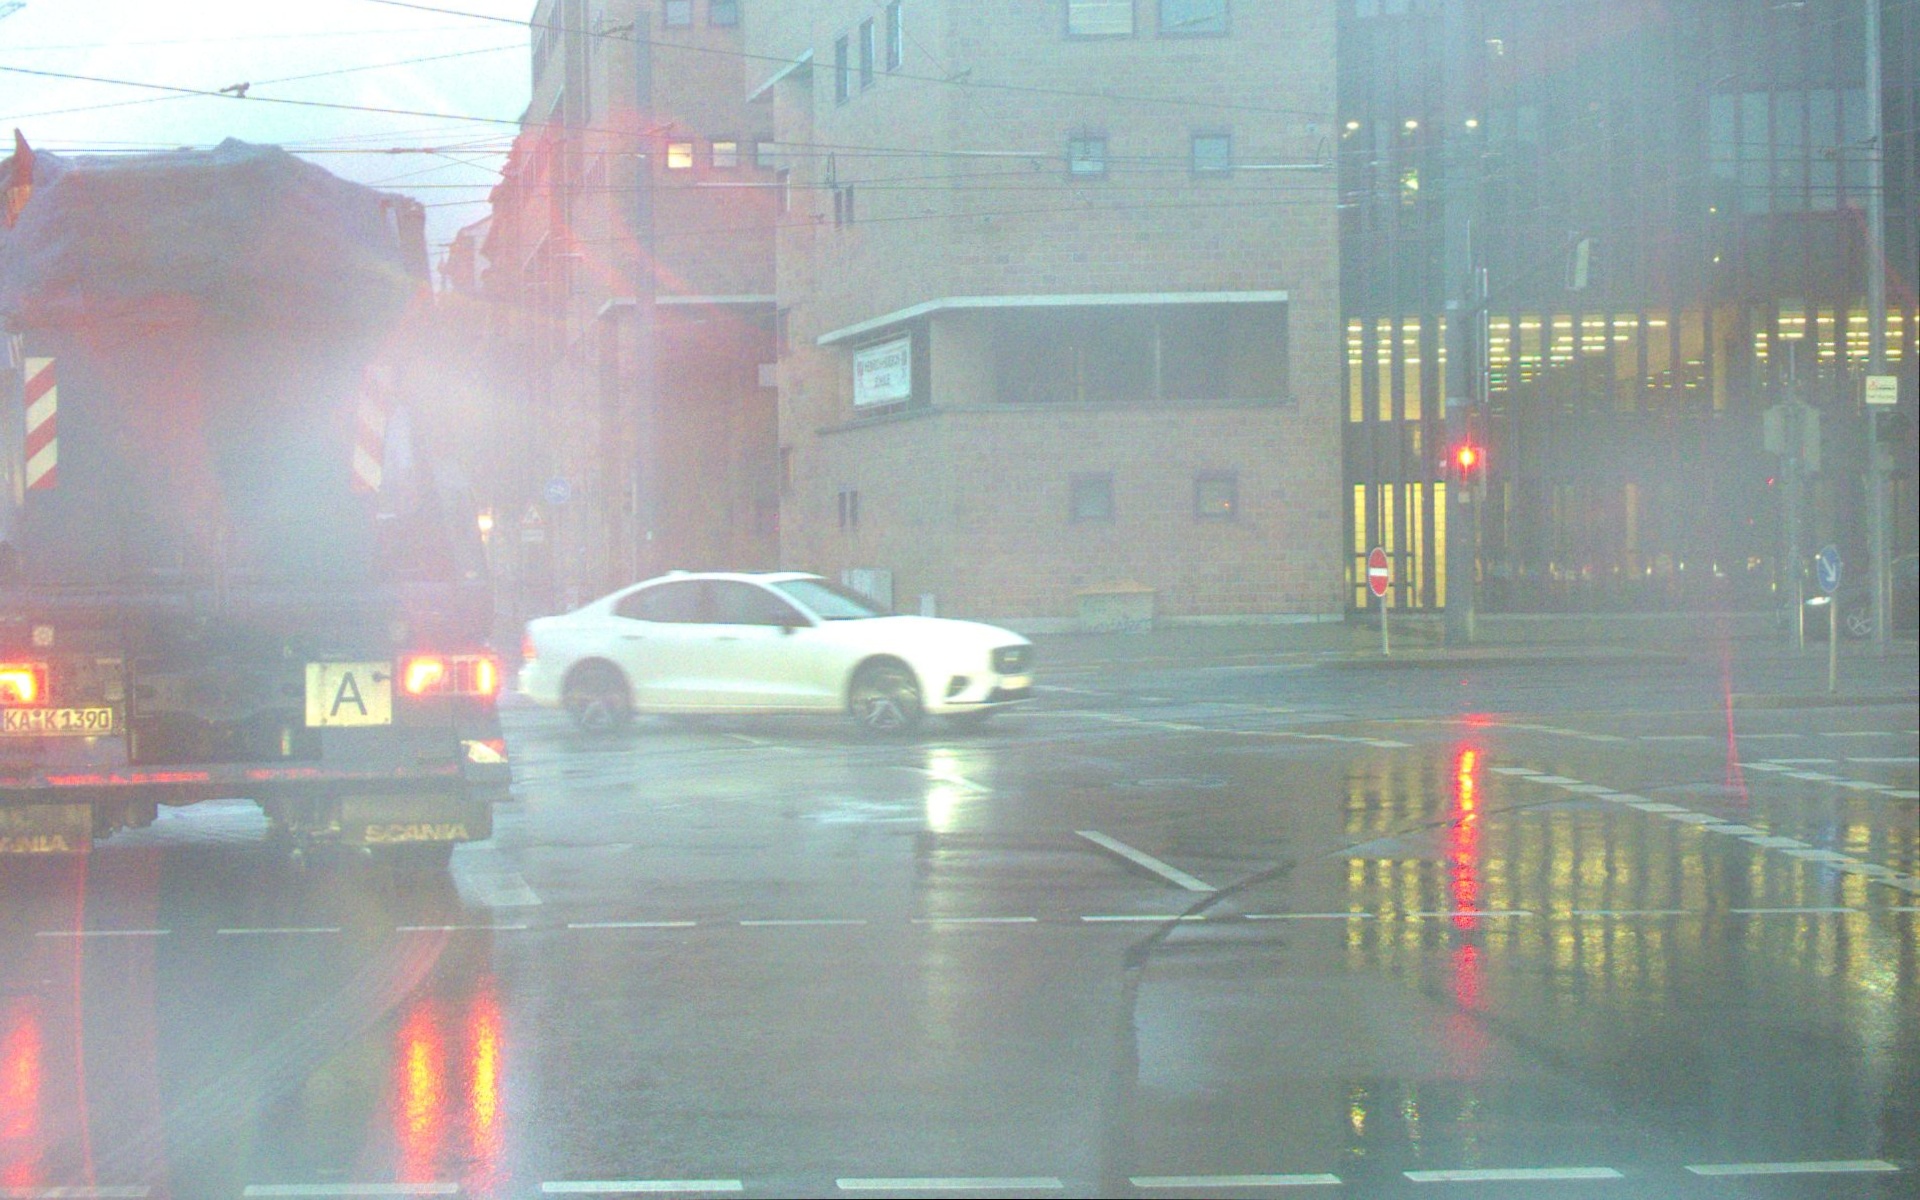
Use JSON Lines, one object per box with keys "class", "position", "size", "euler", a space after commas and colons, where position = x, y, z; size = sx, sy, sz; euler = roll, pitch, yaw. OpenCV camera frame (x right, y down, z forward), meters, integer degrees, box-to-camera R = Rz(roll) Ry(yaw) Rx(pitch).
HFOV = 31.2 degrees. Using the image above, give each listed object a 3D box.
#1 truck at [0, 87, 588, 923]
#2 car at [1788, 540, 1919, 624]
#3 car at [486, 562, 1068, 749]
{"class": "truck", "position": [-4.276, -0.475, 18.834], "size": [2.838, 3.621, 7.529], "euler": [-1, 1, -19]}
{"class": "car", "position": [15.695, -0.323, 55.726], "size": [3.986, 1.305, 2.000], "euler": [-1, 1, -4]}
{"class": "car", "position": [-1.653, 0.480, 30.963], "size": [4.824, 1.556, 2.048], "euler": [-1, 1, 25]}
